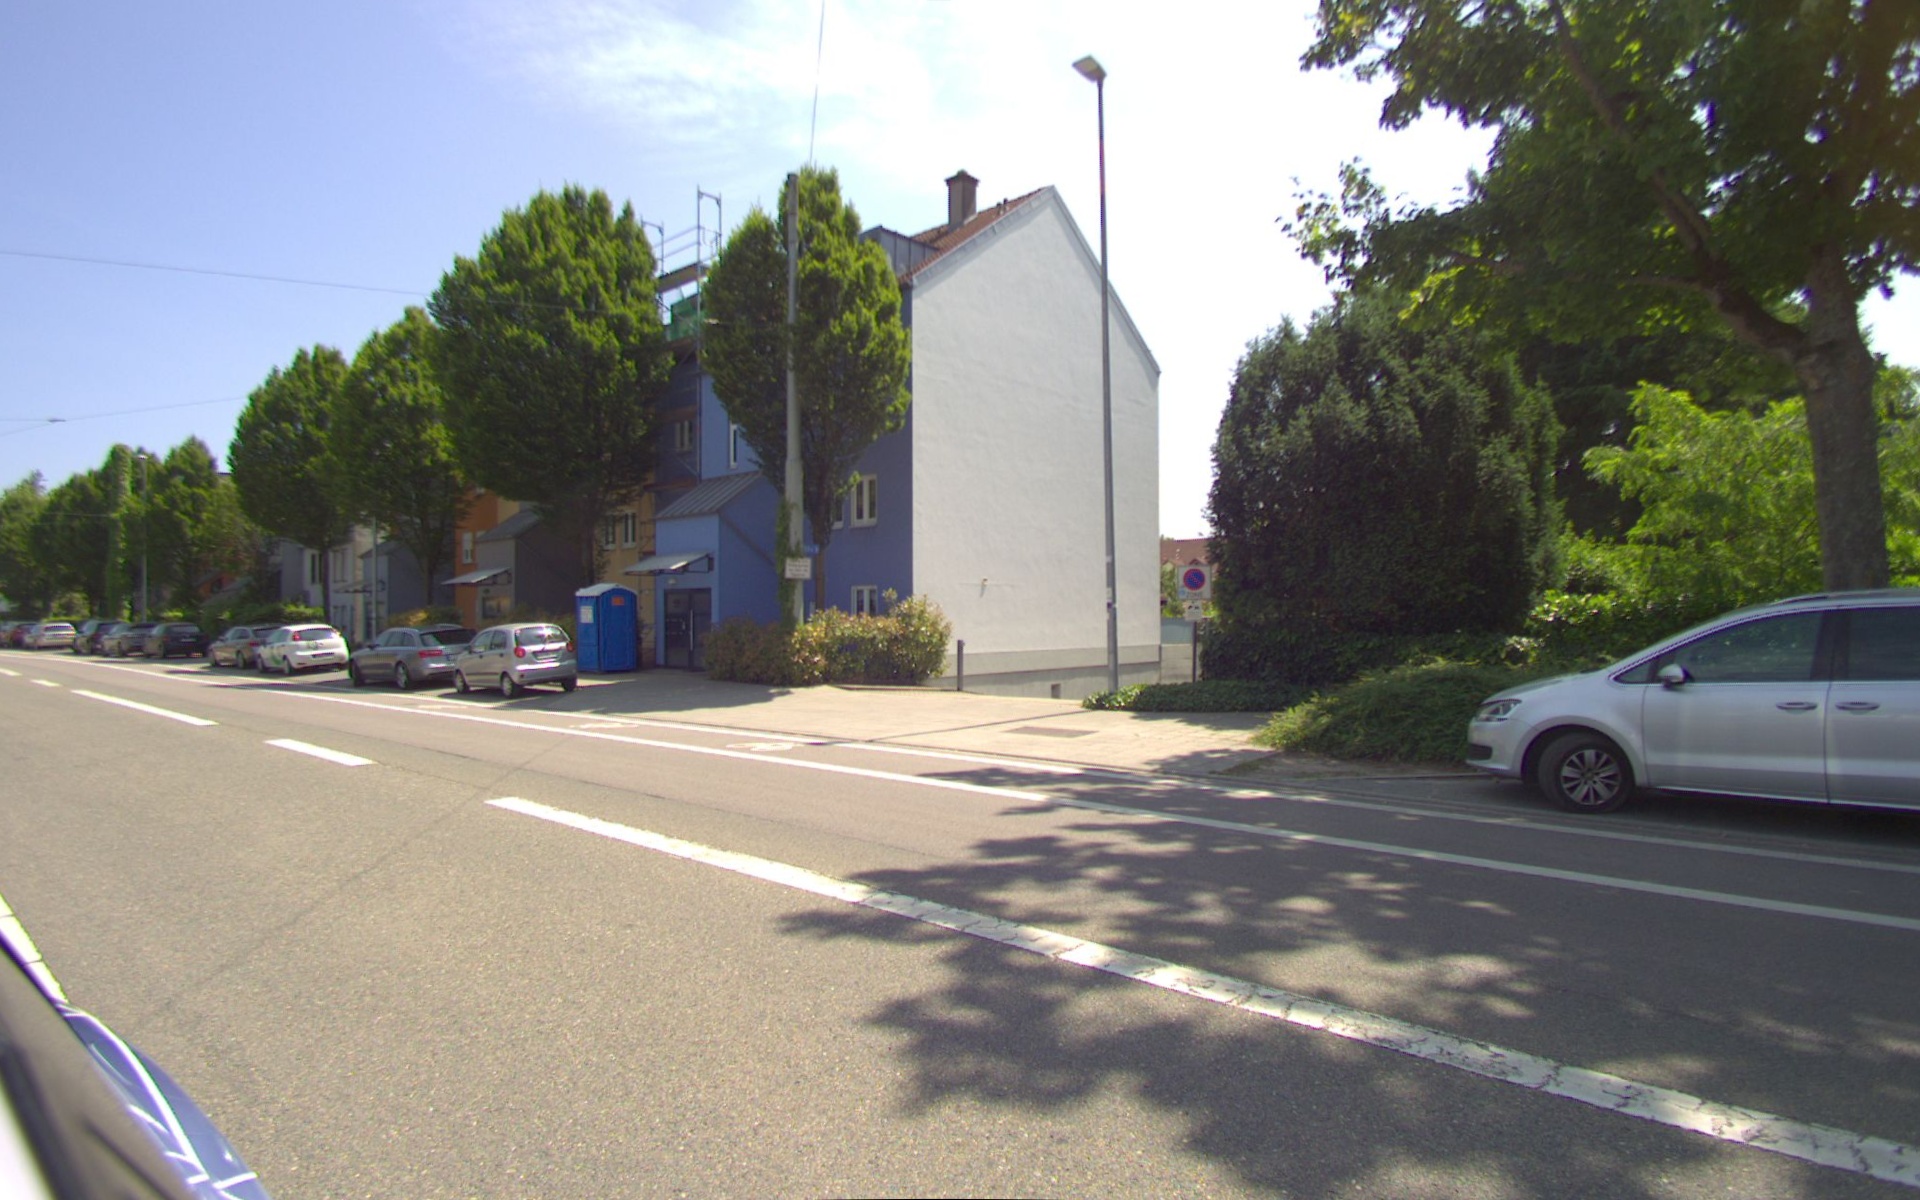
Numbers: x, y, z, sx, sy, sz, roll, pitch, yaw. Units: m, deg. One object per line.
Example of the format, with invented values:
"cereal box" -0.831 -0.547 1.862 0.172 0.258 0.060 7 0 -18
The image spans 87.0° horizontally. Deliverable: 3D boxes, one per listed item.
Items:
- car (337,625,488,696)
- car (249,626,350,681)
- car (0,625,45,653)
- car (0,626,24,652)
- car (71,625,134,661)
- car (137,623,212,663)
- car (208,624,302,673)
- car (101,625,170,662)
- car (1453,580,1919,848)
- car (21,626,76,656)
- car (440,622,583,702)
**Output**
"car" -13.683 1.440 25.160 4.635 1.507 1.659 -1 2 40
"car" -20.917 1.644 32.020 3.646 1.507 1.635 -1 2 40
"car" -55.968 2.299 60.141 3.467 1.507 1.842 -1 2 40
"car" -59.672 2.409 62.803 3.467 1.507 1.842 -1 2 40
"car" -42.209 2.089 49.781 4.079 1.599 1.635 -1 2 40
"car" -33.524 1.814 43.142 4.079 1.507 1.635 -1 2 40
"car" -24.766 1.661 35.501 4.079 1.507 1.635 -1 2 40
"car" -37.397 1.938 45.872 4.079 1.507 1.635 -1 2 40
"car" 6.445 0.725 7.450 4.687 1.701 1.949 -1 -1 43
"car" -51.099 2.267 56.718 4.079 1.507 1.702 -1 2 40
"car" -9.758 1.292 21.954 3.279 1.507 1.487 -1 2 40
